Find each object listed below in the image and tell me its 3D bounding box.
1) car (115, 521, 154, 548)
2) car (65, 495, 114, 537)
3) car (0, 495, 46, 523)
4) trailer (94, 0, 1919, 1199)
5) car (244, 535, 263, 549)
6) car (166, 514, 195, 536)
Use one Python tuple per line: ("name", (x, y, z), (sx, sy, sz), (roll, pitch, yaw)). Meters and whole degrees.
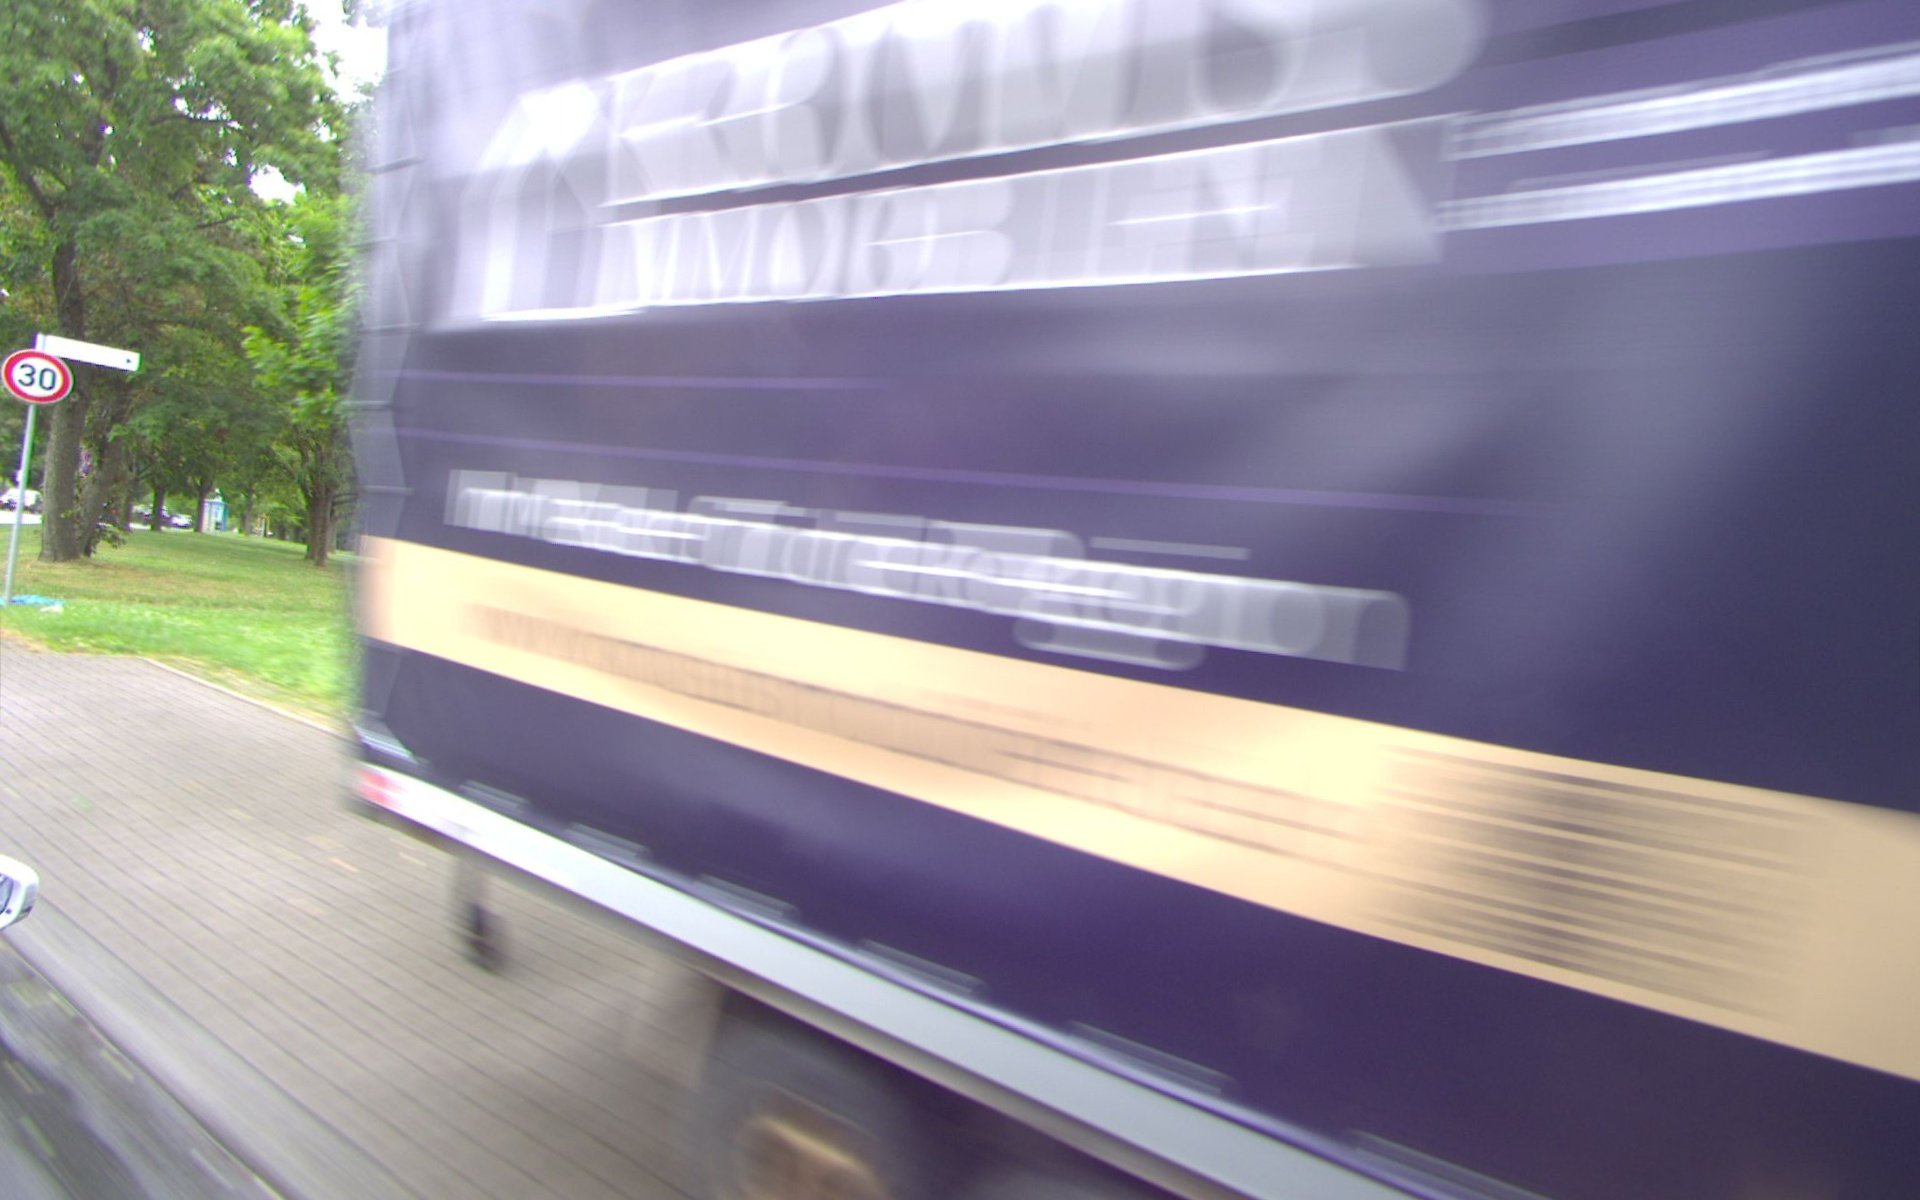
("car", (-65.798, -5.200, 80.199), (1.984, 1.778, 3.962), (9, -3, -36))
("car", (-50.094, -4.793, 57.946), (1.895, 2.036, 3.901), (9, -3, -40))
("car", (-58.706, -5.679, 63.013), (1.574, 1.496, 3.857), (6, 0, -36))
("trailer", (-0.075, -0.050, 2.738), (5.516, 2.849, 1.991), (7, 5, 33))
("car", (-93.430, -7.673, 132.973), (1.418, 1.587, 3.389), (10, -4, -43))
("car", (-77.960, -7.489, 100.664), (1.984, 1.824, 3.962), (9, -3, -36))
